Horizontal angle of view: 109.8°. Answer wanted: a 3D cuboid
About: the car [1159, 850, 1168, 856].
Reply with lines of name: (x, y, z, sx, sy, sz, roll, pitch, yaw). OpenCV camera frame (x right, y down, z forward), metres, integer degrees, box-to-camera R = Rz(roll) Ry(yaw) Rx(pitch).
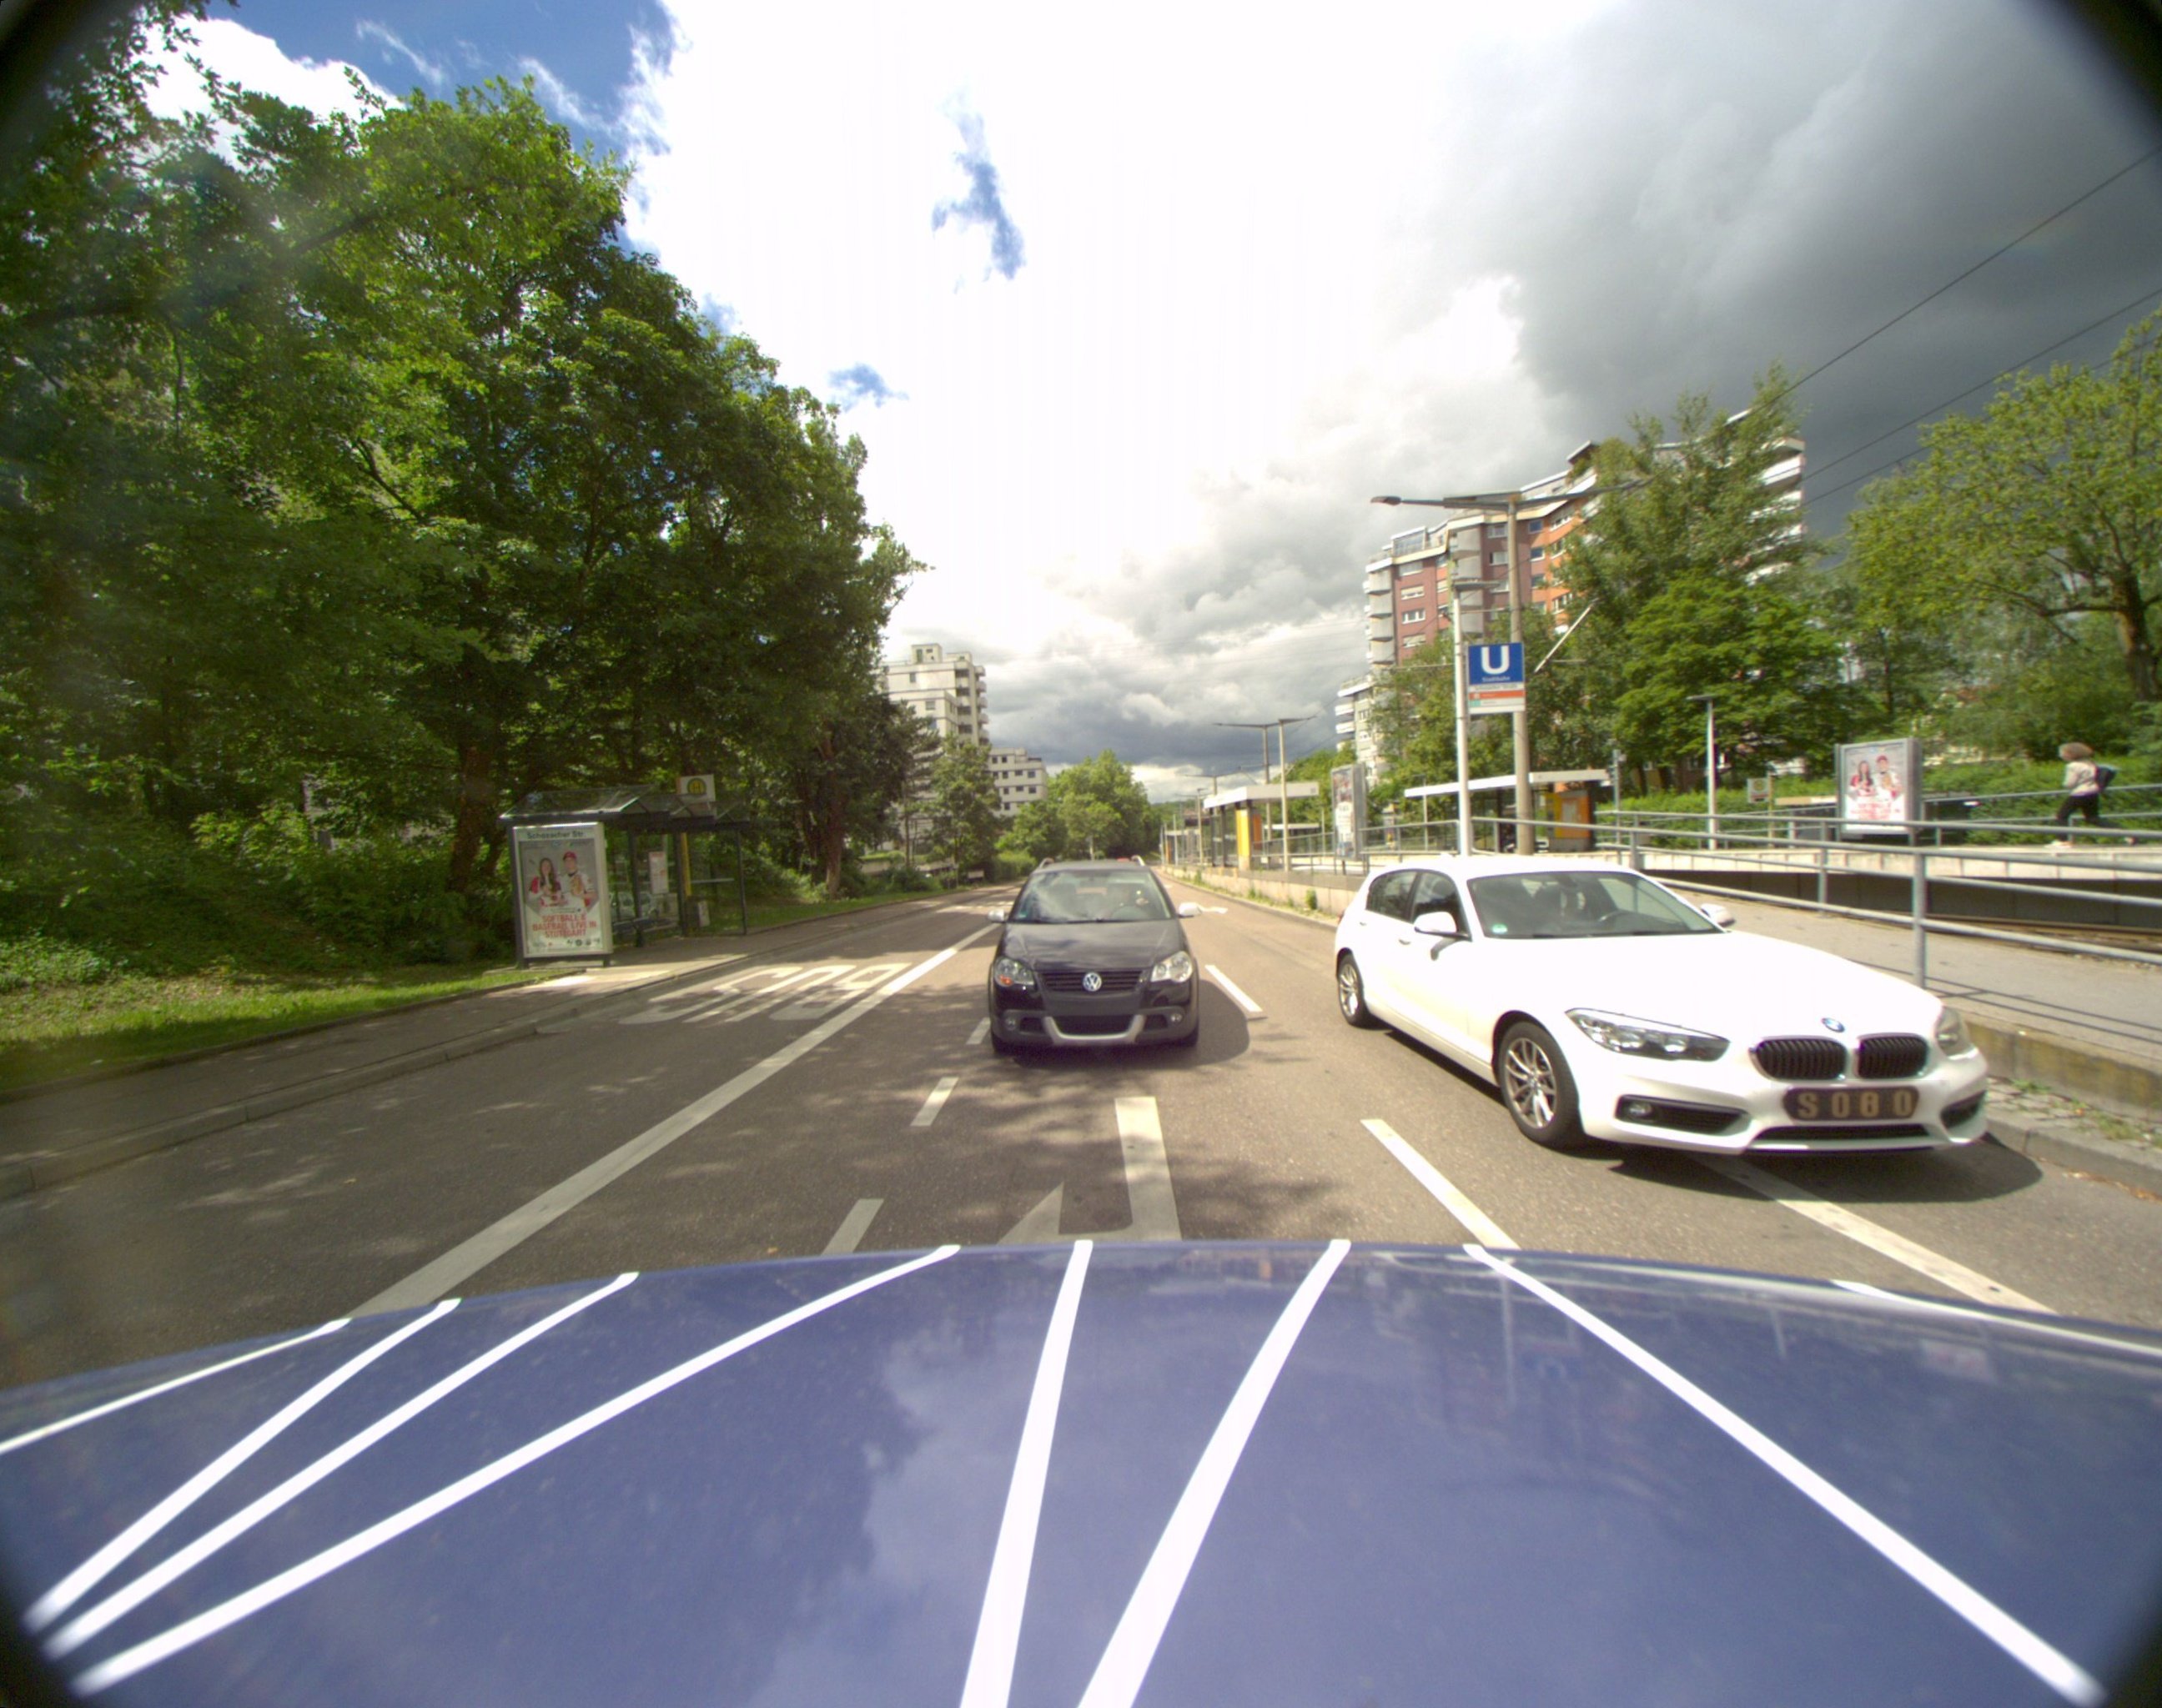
car: (19.384, -0.260, 178.471, 1.805, 1.208, 4.022, -2, 1, 4)

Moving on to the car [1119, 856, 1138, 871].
car: (5.053, 1.001, 80.601, 1.845, 1.409, 4.001, -2, 1, 4)

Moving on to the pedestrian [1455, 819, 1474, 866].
pedestrian: (16.607, -0.482, 32.905, 0.517, 2.002, 0.557, -2, 1, 1)

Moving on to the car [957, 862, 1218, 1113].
car: (0.067, 0.916, 6.953, 1.681, 1.529, 3.793, -2, 1, 1)

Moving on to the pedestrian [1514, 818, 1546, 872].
pedestrian: (16.242, -0.334, 27.472, 0.771, 1.920, 0.573, -2, 1, -1)

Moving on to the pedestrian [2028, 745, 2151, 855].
pedestrian: (15.333, -0.798, 11.570, 0.865, 1.597, 0.747, -2, 1, 0)

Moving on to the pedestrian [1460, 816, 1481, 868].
pedestrian: (16.434, -0.508, 32.090, 0.532, 2.129, 0.608, -2, 1, 4)

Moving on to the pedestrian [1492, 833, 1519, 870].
pedestrian: (16.532, -0.109, 29.612, 0.645, 1.407, 0.658, -2, 1, 1)

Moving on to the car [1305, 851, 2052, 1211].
car: (3.077, 0.780, 5.259, 1.794, 1.442, 4.277, -1, -1, 0)

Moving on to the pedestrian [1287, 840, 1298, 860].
pedestrian: (18.275, -0.344, 65.535, 0.774, 1.696, 0.766, -2, 1, 9)

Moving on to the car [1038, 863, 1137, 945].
car: (0.061, 0.965, 15.956, 1.819, 1.483, 4.000, -1, -1, -2)

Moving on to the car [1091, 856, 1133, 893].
car: (1.441, 0.930, 36.708, 1.846, 1.553, 3.999, -2, 1, 1)

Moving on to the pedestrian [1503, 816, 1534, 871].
pedestrian: (16.384, -0.401, 28.438, 0.780, 2.002, 0.584, -2, 1, 1)
